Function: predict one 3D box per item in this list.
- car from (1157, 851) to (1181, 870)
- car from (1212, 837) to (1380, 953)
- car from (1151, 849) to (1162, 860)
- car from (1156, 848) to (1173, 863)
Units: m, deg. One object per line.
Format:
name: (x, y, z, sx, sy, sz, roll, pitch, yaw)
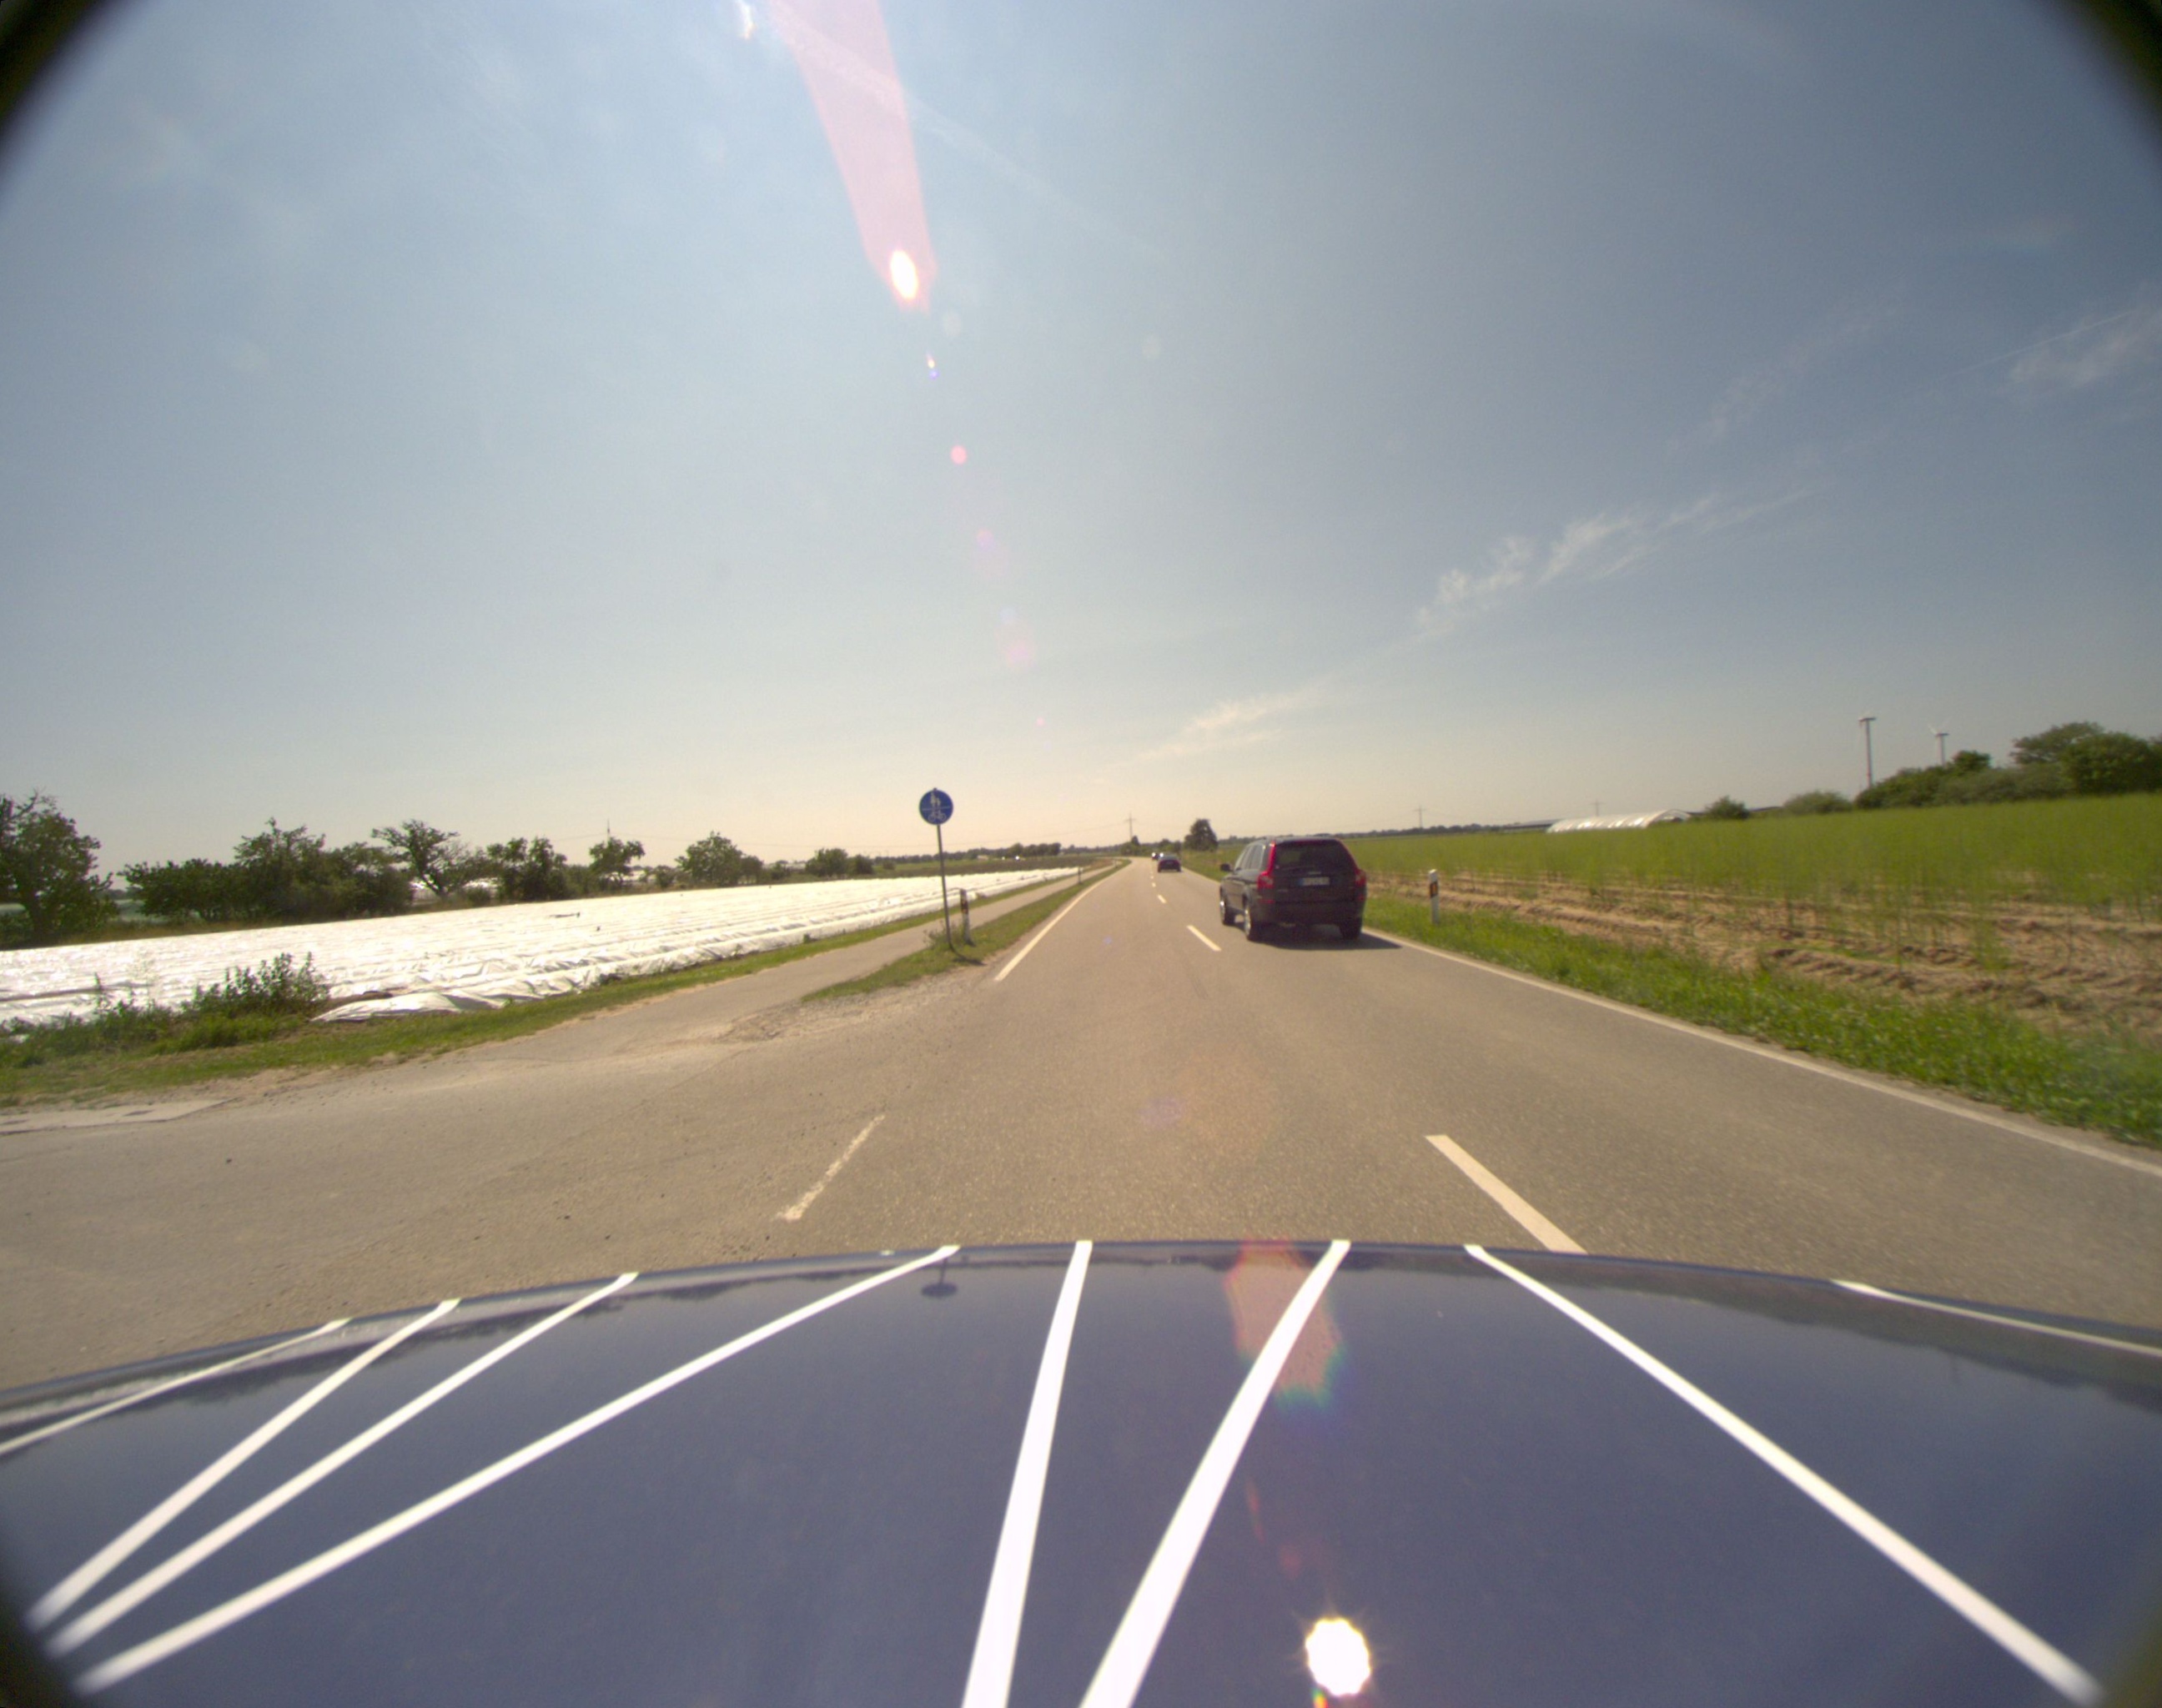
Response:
car: (7.076, 0.497, 61.146, 1.745, 1.349, 4.419, -2, 0, 5)
car: (3.744, 0.609, 14.255, 1.938, 1.741, 5.205, -2, 0, 4)
car: (15.415, 0.065, 155.269, 1.998, 2.002, 4.001, -3, 1, 5)
car: (9.630, 0.136, 87.663, 1.744, 1.523, 4.142, -2, 1, 5)
